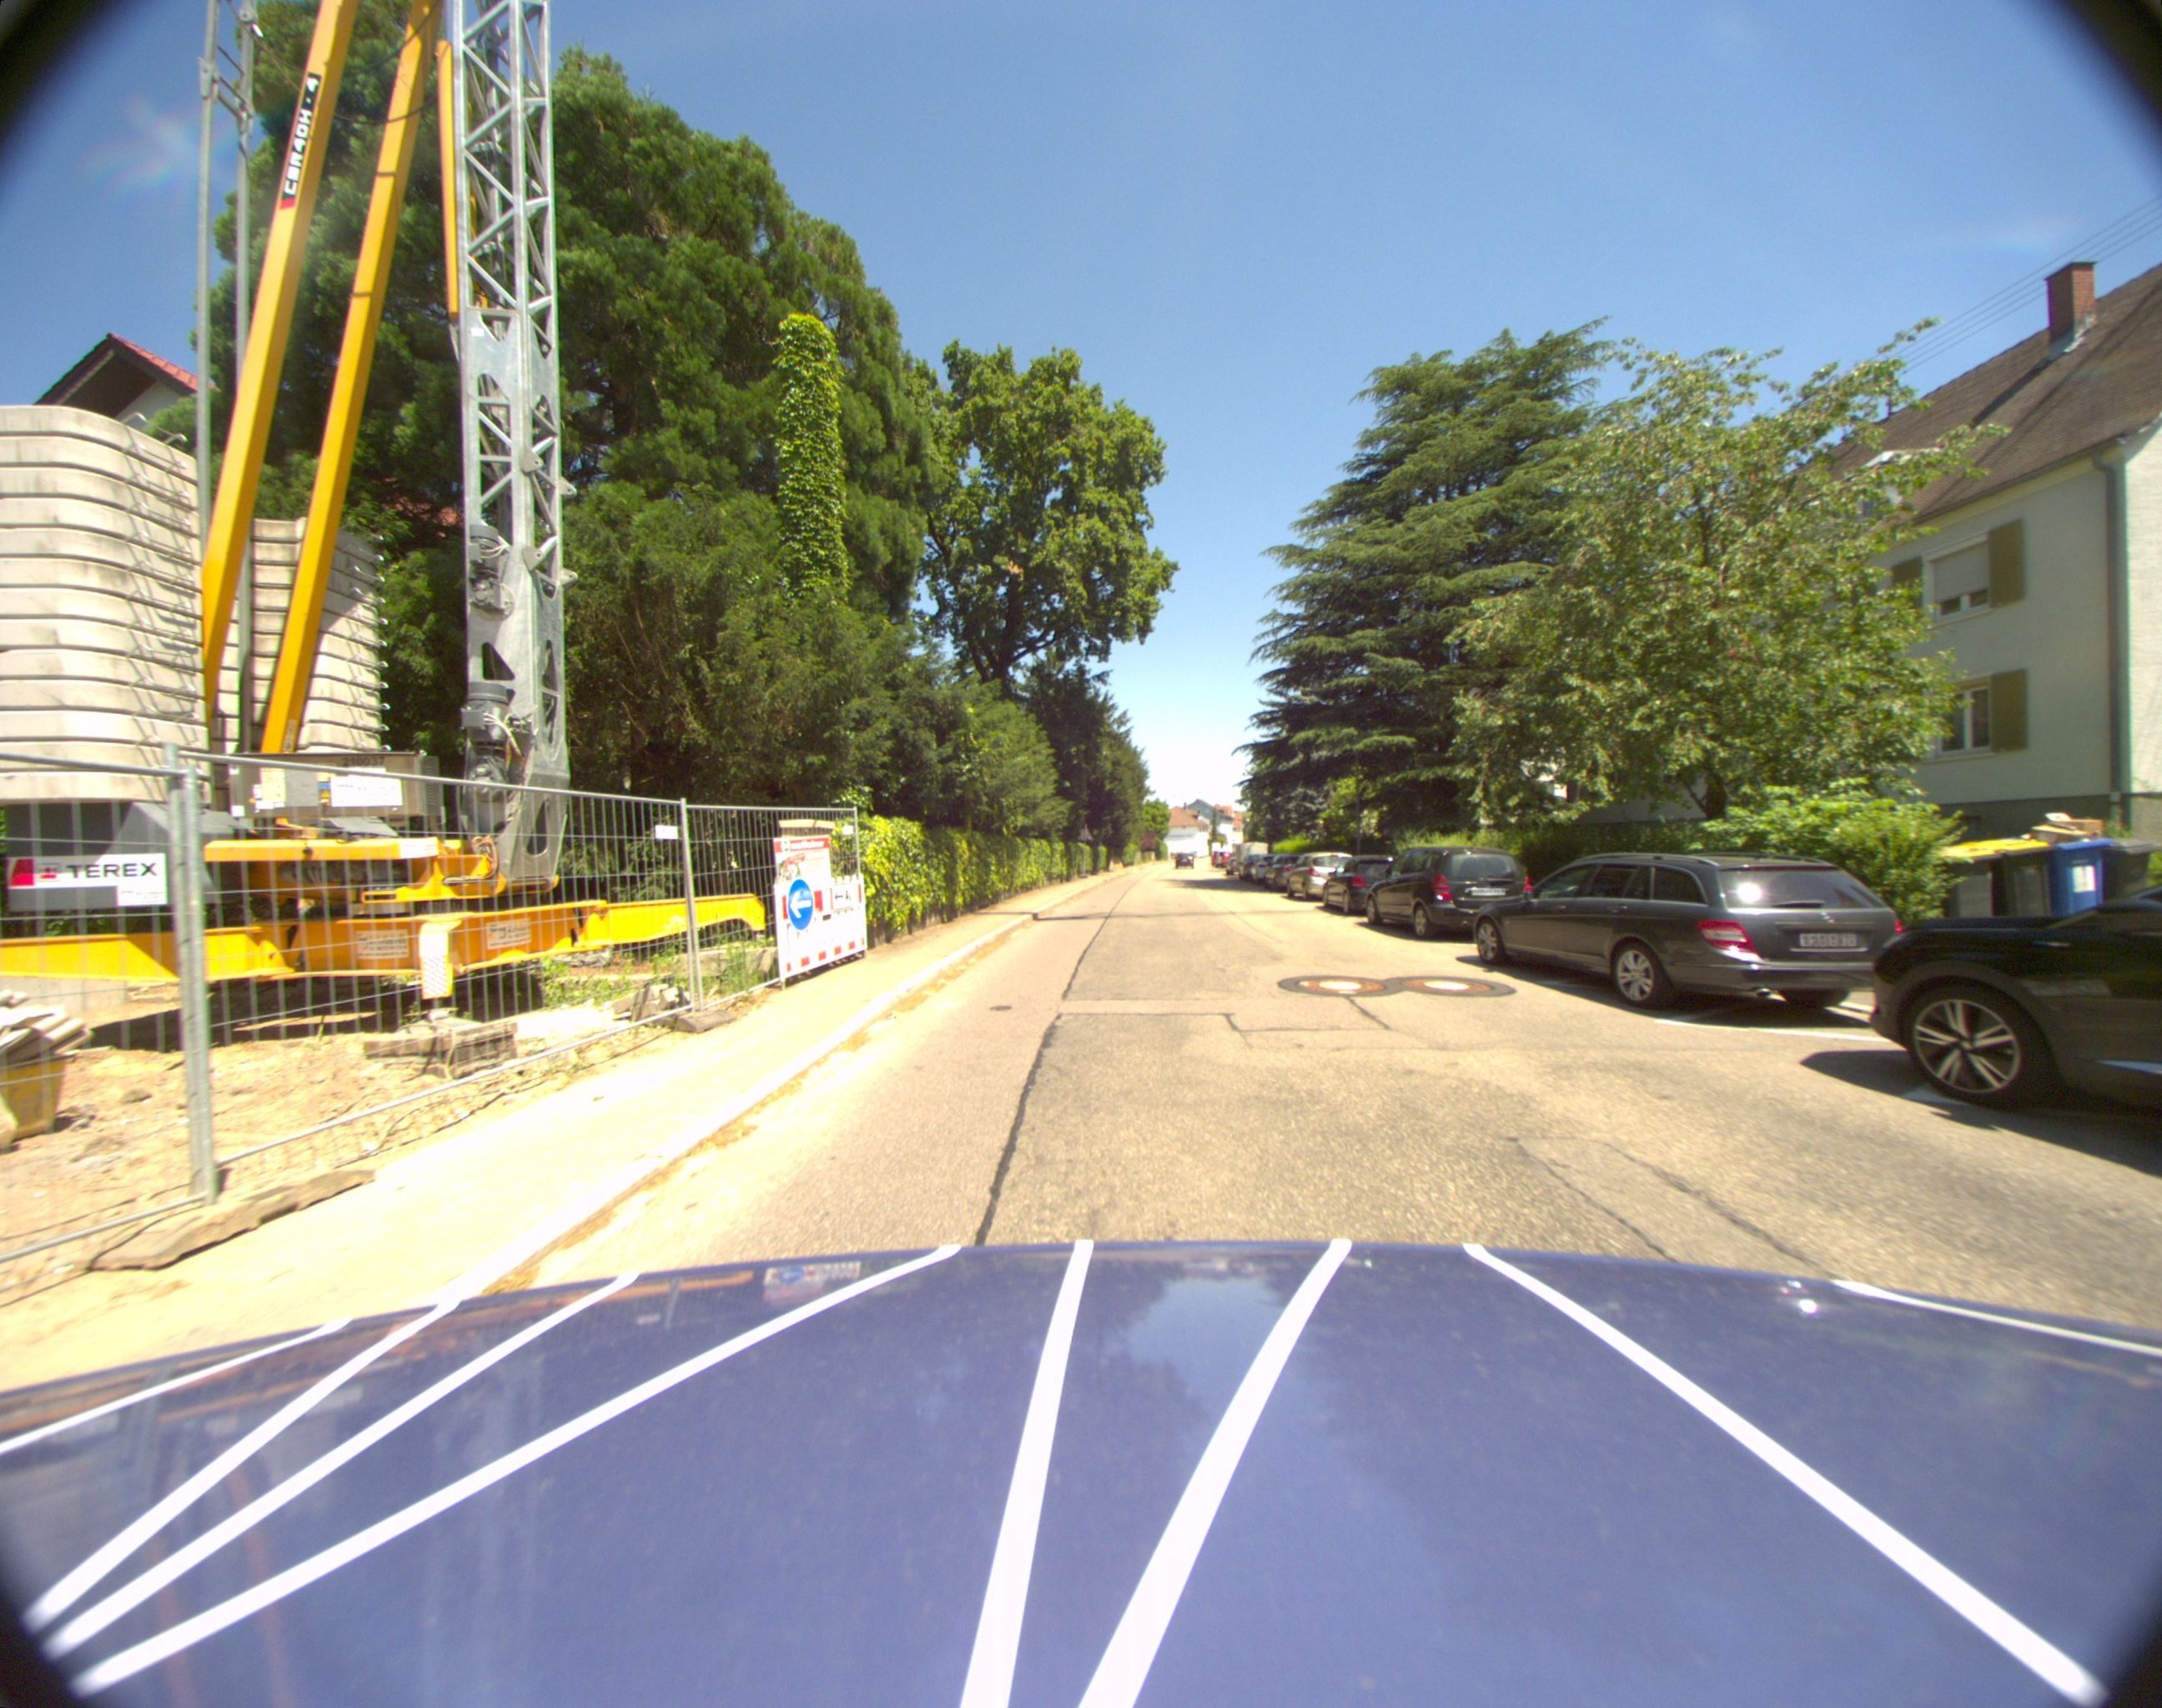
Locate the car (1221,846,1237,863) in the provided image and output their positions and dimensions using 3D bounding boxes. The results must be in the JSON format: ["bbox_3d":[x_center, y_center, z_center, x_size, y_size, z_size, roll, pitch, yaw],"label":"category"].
[{"bbox_3d":[13.548,0.052,69.482,1.307,1.568,2.322,-1,1,9],"label":"car"}]

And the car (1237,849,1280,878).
[{"bbox_3d":[9.418,0.462,40.523,1.800,1.434,4.478,0,1,7],"label":"car"}]

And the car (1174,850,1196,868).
[{"bbox_3d":[10.005,0.460,73.074,1.903,1.565,4.142,-1,1,5],"label":"car"}]

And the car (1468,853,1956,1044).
[{"bbox_3d":[6.043,0.740,8.129,1.685,1.467,4.330,0,1,1],"label":"car"}]

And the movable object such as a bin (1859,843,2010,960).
[{"bbox_3d":[10.283,0.543,9.196,0.755,1.324,0.963,-1,1,2],"label":"movable object such as a bin"}]

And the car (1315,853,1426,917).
[{"bbox_3d":[7.045,0.681,18.857,1.684,1.393,3.791,0,1,7],"label":"car"}]

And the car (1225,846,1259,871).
[{"bbox_3d":[10.628,0.270,50.413,1.772,1.610,4.551,0,1,7],"label":"car"}]

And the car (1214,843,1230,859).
[{"bbox_3d":[18.116,-0.415,97.689,1.892,2.103,4.001,1,1,9],"label":"car"}]

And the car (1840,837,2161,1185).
[{"bbox_3d":[5.872,0.734,2.890,1.685,1.627,4.330,0,1,1],"label":"car"}]

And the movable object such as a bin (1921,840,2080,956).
[{"bbox_3d":[11.062,0.505,9.184,0.755,1.324,0.963,-1,1,2],"label":"movable object such as a bin"}]

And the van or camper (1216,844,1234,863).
[{"bbox_3d":[14.147,-0.061,74.573,1.582,1.760,3.891,-1,0,9],"label":"van or camper"}]

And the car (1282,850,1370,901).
[{"bbox_3d":[7.574,0.617,23.835,1.800,1.434,3.786,0,1,5],"label":"car"}]

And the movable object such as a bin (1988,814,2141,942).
[{"bbox_3d":[11.786,0.274,9.145,0.658,1.444,0.918,-1,1,2],"label":"movable object such as a bin"}]

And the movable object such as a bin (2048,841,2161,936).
[{"bbox_3d":[12.393,0.386,9.058,0.658,1.079,0.852,-1,1,2],"label":"movable object such as a bin"}]

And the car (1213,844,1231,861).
[{"bbox_3d":[15.631,-0.197,84.230,1.892,1.749,3.614,0,1,9],"label":"car"}]

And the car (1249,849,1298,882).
[{"bbox_3d":[8.958,0.504,35.582,1.800,1.434,3.898,0,1,7],"label":"car"}]

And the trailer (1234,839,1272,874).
[{"bbox_3d":[10.375,0.110,46.116,1.818,2.021,4.002,0,1,6],"label":"trailer"}]

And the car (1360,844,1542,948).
[{"bbox_3d":[6.527,0.650,13.895,1.685,1.630,3.790,0,1,4],"label":"car"}]

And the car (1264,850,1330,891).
[{"bbox_3d":[8.159,0.584,29.045,1.800,1.434,4.274,0,1,7],"label":"car"}]
